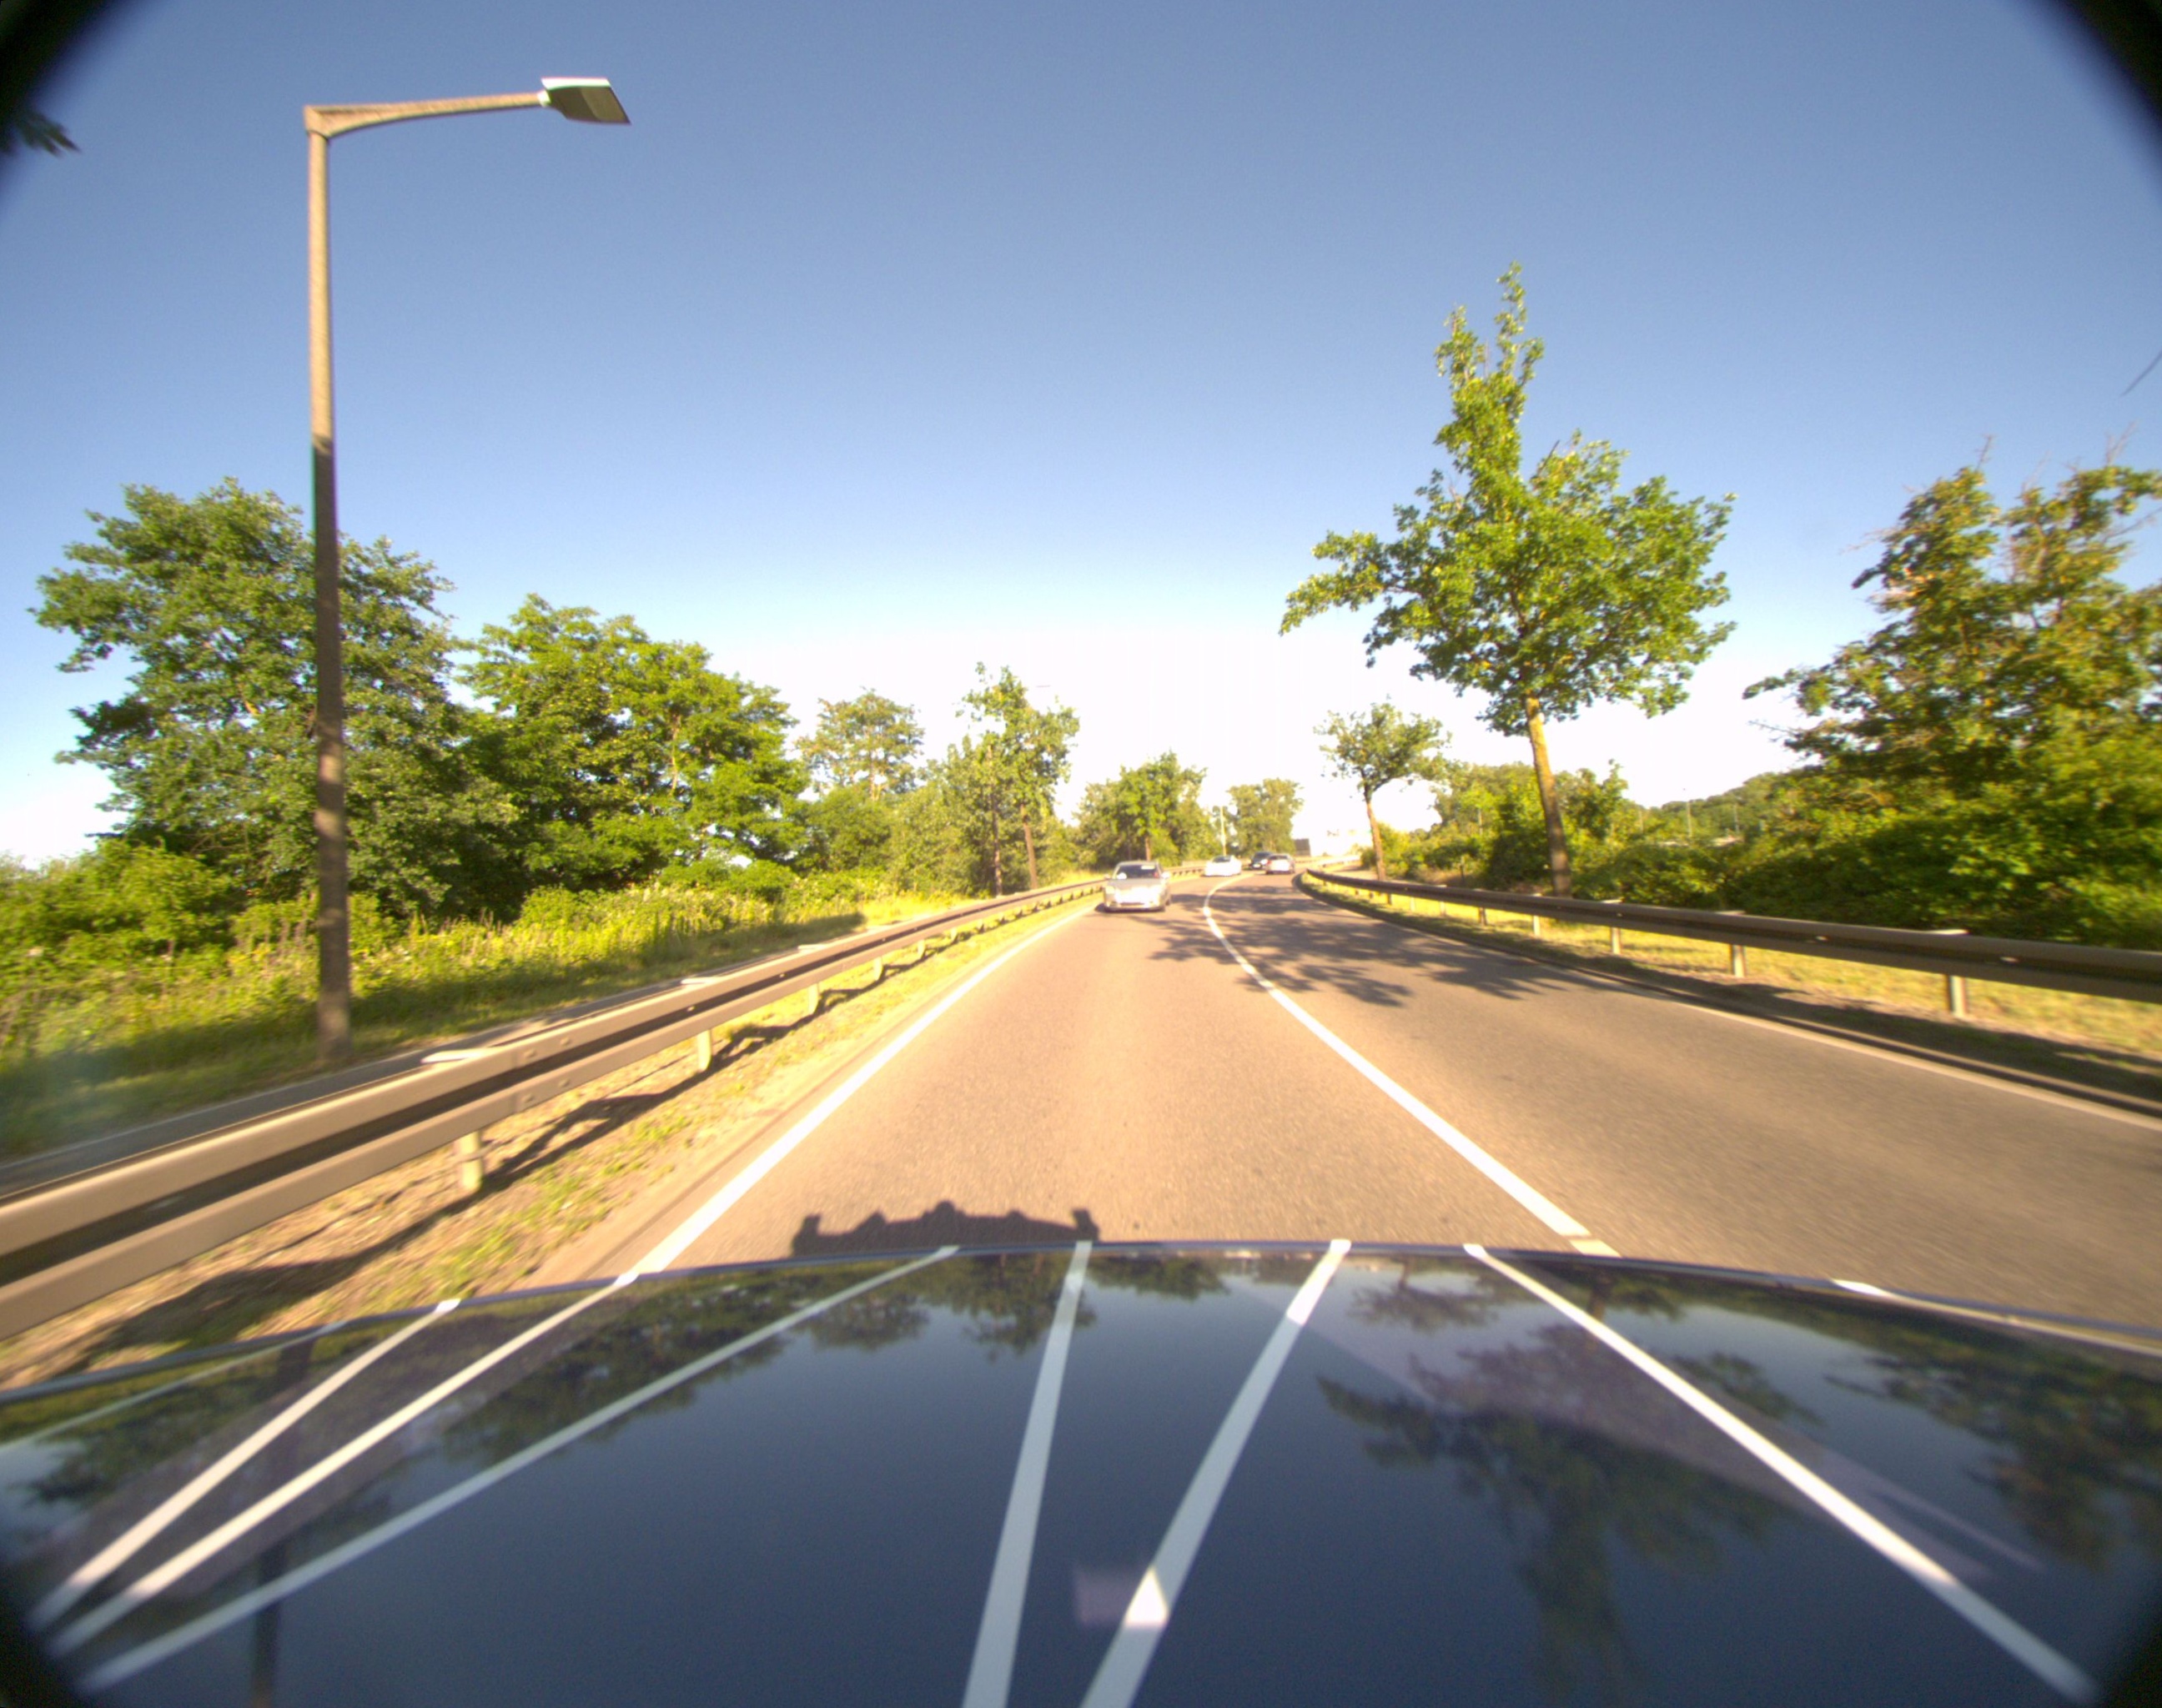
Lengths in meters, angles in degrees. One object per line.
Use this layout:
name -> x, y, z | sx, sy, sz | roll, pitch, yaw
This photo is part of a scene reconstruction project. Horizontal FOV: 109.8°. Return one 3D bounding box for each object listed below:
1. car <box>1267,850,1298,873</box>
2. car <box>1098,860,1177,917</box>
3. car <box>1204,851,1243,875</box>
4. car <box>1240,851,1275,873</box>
car -> 14.033, 0.499, 52.688 | 1.697, 1.509, 3.986 | -1, 0, 20
car -> 1.781, 0.973, 22.702 | 1.681, 1.433, 3.862 | -3, 0, 13
car -> 10.064, 0.578, 53.534 | 2.147, 1.558, 4.203 | -1, 0, 18
car -> 15.392, 0.675, 66.164 | 1.680, 1.694, 3.612 | -2, 0, 34
